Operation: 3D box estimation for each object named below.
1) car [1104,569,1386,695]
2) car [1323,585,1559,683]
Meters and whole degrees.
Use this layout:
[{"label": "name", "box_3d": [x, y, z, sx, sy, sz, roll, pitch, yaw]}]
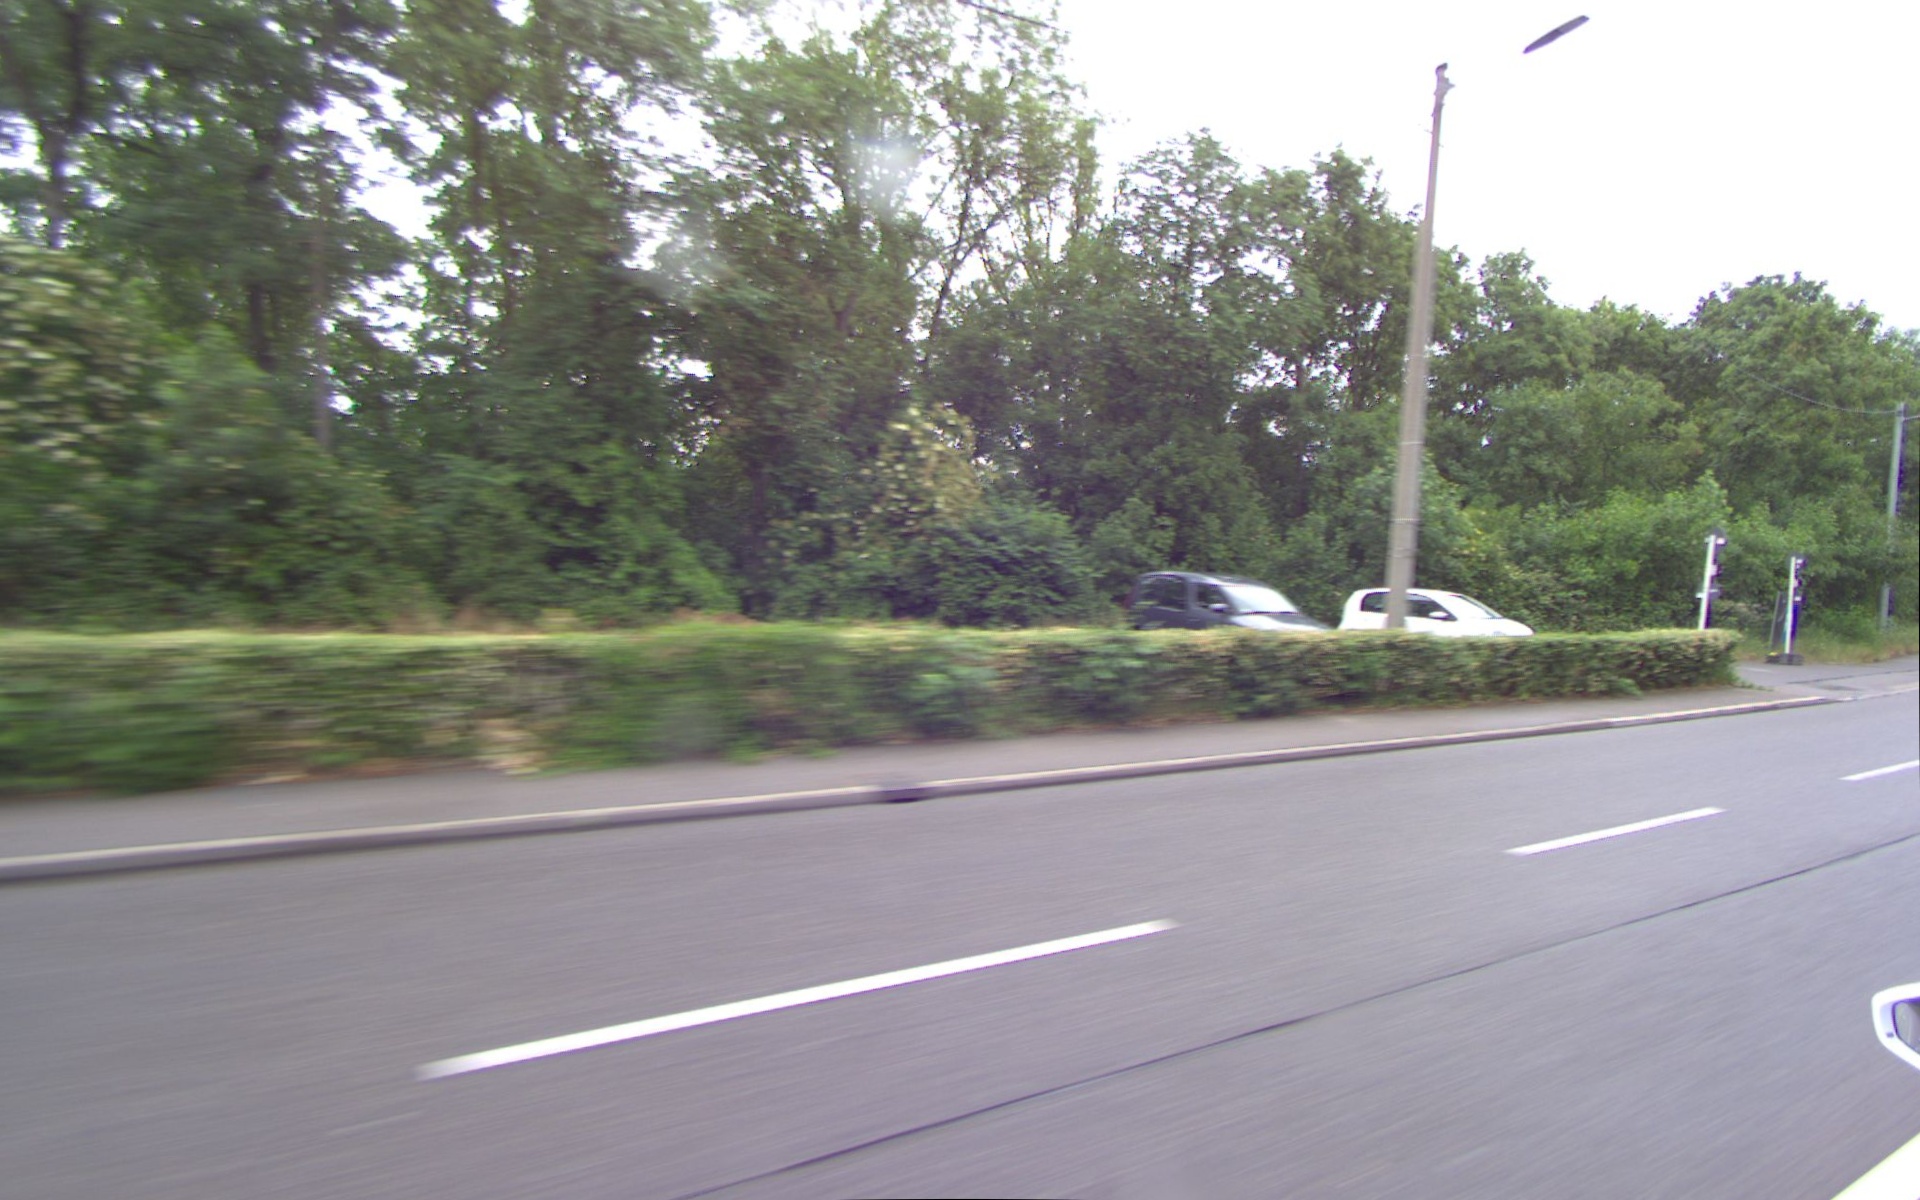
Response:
[{"label": "car", "box_3d": [4.418, 0.408, 16.301, 1.975, 1.731, 4.273, 1, 1, -28]}, {"label": "car", "box_3d": [9.131, 0.583, 19.314, 1.833, 1.612, 3.621, 1, 1, -34]}]
